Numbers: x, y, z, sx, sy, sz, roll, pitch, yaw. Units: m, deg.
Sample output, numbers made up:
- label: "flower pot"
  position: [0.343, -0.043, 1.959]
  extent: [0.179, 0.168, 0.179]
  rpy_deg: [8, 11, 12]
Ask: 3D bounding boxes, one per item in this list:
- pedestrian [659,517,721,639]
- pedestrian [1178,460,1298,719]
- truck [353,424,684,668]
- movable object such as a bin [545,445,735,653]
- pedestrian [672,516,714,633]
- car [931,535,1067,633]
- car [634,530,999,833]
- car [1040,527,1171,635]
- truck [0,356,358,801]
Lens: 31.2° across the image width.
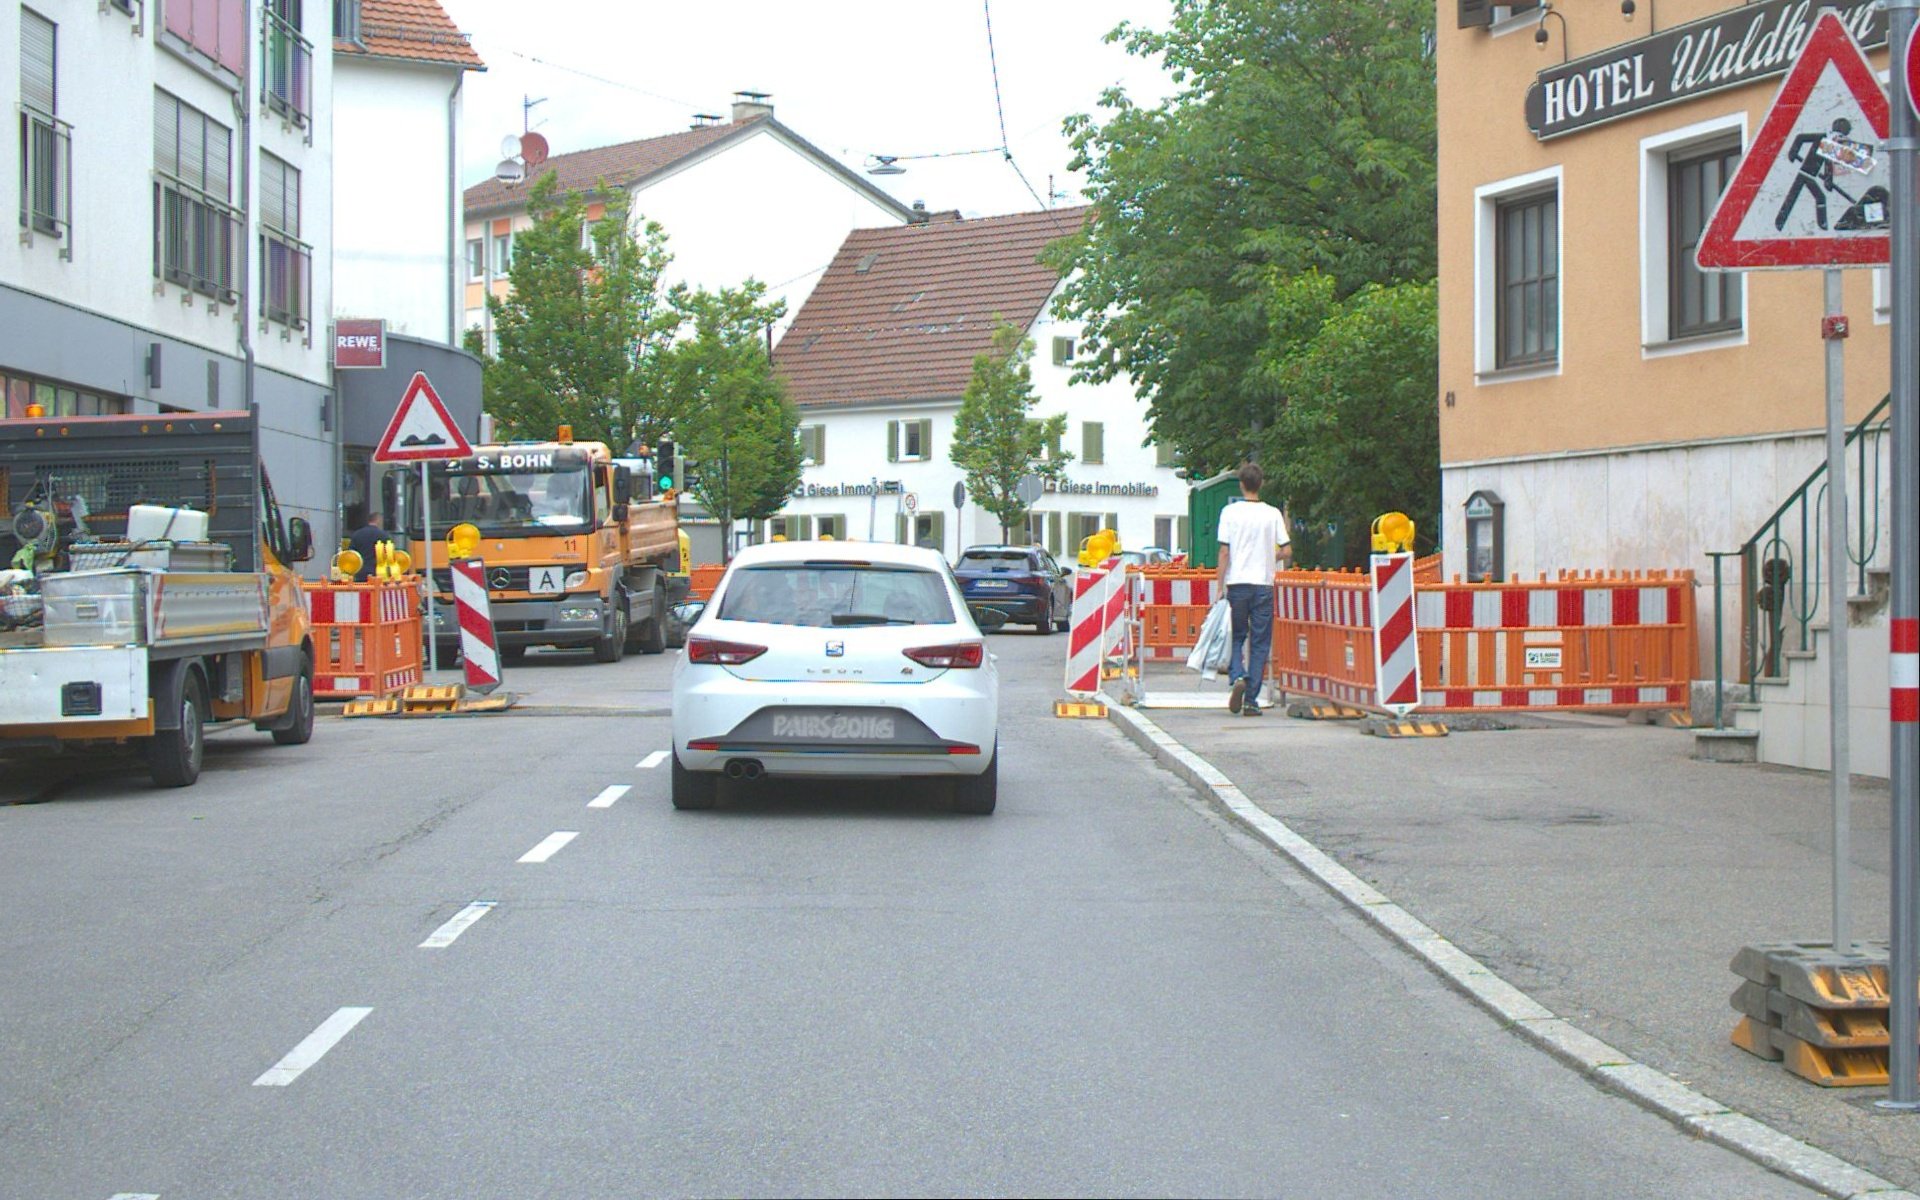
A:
- label: "pedestrian"
  position: [-4.052, -0.331, 51.630]
  extent: [0.814, 1.809, 0.743]
  rpy_deg: [0, 1, 7]
- label: "pedestrian"
  position: [2.126, -0.087, 26.329]
  extent: [0.798, 1.943, 0.836]
  rpy_deg: [-1, 1, -2]
- label: "truck"
  position: [-5.218, -0.678, 41.916]
  extent: [2.731, 2.715, 6.847]
  rpy_deg: [0, 1, 4]
- label: "movable object such as a bin"
  position: [-4.401, -0.667, 47.954]
  extent: [1.839, 2.754, 4.505]
  rpy_deg: [0, 0, 5]
- label: "pedestrian"
  position: [-4.004, -0.387, 51.543]
  extent: [0.537, 1.738, 0.443]
  rpy_deg: [0, 1, 7]
- label: "car"
  position: [0.665, -0.281, 55.078]
  extent: [1.812, 1.475, 3.870]
  rpy_deg: [0, 1, 6]
- label: "car"
  position: [-0.725, 0.375, 19.331]
  extent: [1.811, 1.475, 3.871]
  rpy_deg: [1, 1, 0]
- label: "car"
  position: [2.829, -0.377, 66.231]
  extent: [1.994, 2.007, 3.998]
  rpy_deg: [0, 1, 10]
- label: "truck"
  position: [-5.660, -0.188, 22.210]
  extent: [2.413, 2.457, 6.308]
  rpy_deg: [-1, 1, 0]
